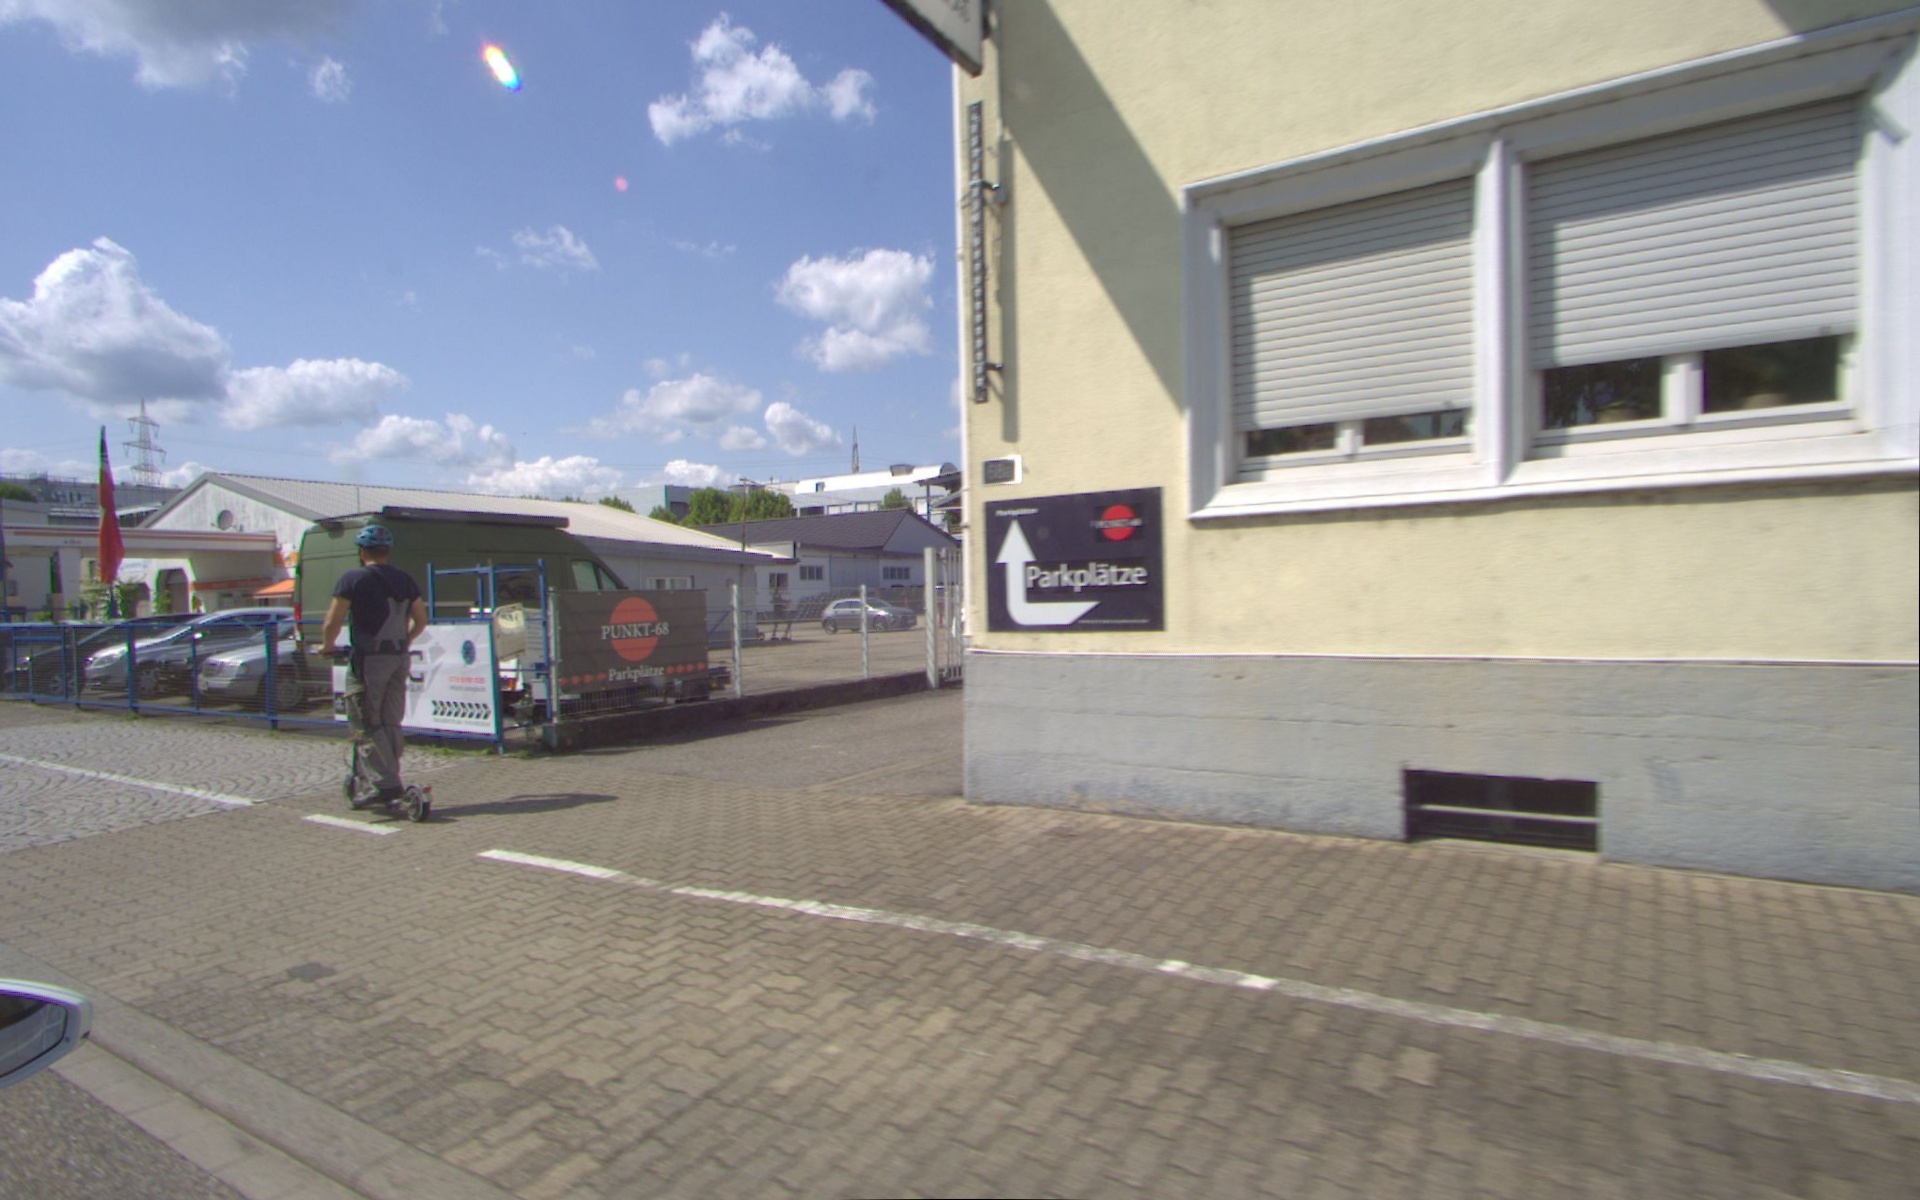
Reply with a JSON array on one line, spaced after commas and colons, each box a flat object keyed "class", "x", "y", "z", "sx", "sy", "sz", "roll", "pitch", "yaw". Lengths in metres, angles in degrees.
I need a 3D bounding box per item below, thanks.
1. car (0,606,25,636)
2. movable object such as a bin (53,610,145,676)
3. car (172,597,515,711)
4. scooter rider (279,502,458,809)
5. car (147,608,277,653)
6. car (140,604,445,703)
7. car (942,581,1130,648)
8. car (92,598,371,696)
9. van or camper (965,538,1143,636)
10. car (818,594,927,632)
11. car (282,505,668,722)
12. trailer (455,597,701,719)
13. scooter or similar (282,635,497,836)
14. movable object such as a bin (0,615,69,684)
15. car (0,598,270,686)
[{"class": "car", "x": -56.866, "y": 1.283, "z": 57.713, "sx": 1.937, "sy": 1.671, "sz": 3.978, "roll": -2, "pitch": 1, "yaw": 32}, {"class": "movable object such as a bin", "x": -20.257, "y": 1.003, "z": 23.579, "sx": 0.939, "sy": 1.463, "sz": 1.319, "roll": -1, "pitch": 1, "yaw": 26}, {"class": "car", "x": -9.392, "y": 0.734, "z": 15.553, "sx": 1.798, "sy": 1.450, "sz": 4.164, "roll": -1, "pitch": 0, "yaw": 39}, {"class": "scooter rider", "x": -4.102, "y": 0.347, "z": 6.971, "sx": 0.774, "sy": 1.991, "sz": 0.715, "roll": 1, "pitch": 4, "yaw": 33}, {"class": "car", "x": -26.482, "y": 1.062, "z": 35.530, "sx": 1.589, "sy": 1.379, "sz": 3.312, "roll": -2, "pitch": 1, "yaw": 32}, {"class": "car", "x": -11.232, "y": 0.825, "z": 17.056, "sx": 1.799, "sy": 1.374, "sz": 3.967, "roll": -1, "pitch": 0, "yaw": 40}, {"class": "car", "x": 1.782, "y": 0.361, "z": 23.926, "sx": 4.120, "sy": 1.435, "sz": 1.749, "roll": -2, "pitch": 1, "yaw": 31}, {"class": "car", "x": -13.282, "y": 0.782, "z": 18.401, "sx": 3.958, "sy": 1.516, "sz": 1.734, "roll": -2, "pitch": 1, "yaw": -43}, {"class": "van or camper", "x": 2.921, "y": -0.356, "z": 31.360, "sx": 4.987, "sy": 2.810, "sz": 2.304, "roll": -2, "pitch": 1, "yaw": 30}, {"class": "car", "x": -3.639, "y": 0.539, "z": 41.387, "sx": 4.120, "sy": 1.406, "sz": 1.918, "roll": -2, "pitch": 1, "yaw": 31}, {"class": "car", "x": -6.759, "y": 0.147, "z": 14.485, "sx": 2.122, "sy": 2.607, "sz": 4.524, "roll": -1, "pitch": 1, "yaw": 34}, {"class": "trailer", "x": -4.952, "y": 0.690, "z": 13.250, "sx": 1.284, "sy": 1.351, "sz": 2.775, "roll": -1, "pitch": 1, "yaw": 33}, {"class": "scooter or similar", "x": -3.929, "y": 0.872, "z": 6.862, "sx": 1.588, "sy": 1.211, "sz": 0.539, "roll": -2, "pitch": 2, "yaw": 32}, {"class": "movable object such as a bin", "x": -20.987, "y": 1.094, "z": 22.486, "sx": 0.812, "sy": 1.464, "sz": 1.253, "roll": -1, "pitch": 1, "yaw": 33}, {"class": "car", "x": -15.904, "y": 0.749, "z": 19.459, "sx": 3.955, "sy": 1.462, "sz": 1.696, "roll": -2, "pitch": 1, "yaw": -40}]
